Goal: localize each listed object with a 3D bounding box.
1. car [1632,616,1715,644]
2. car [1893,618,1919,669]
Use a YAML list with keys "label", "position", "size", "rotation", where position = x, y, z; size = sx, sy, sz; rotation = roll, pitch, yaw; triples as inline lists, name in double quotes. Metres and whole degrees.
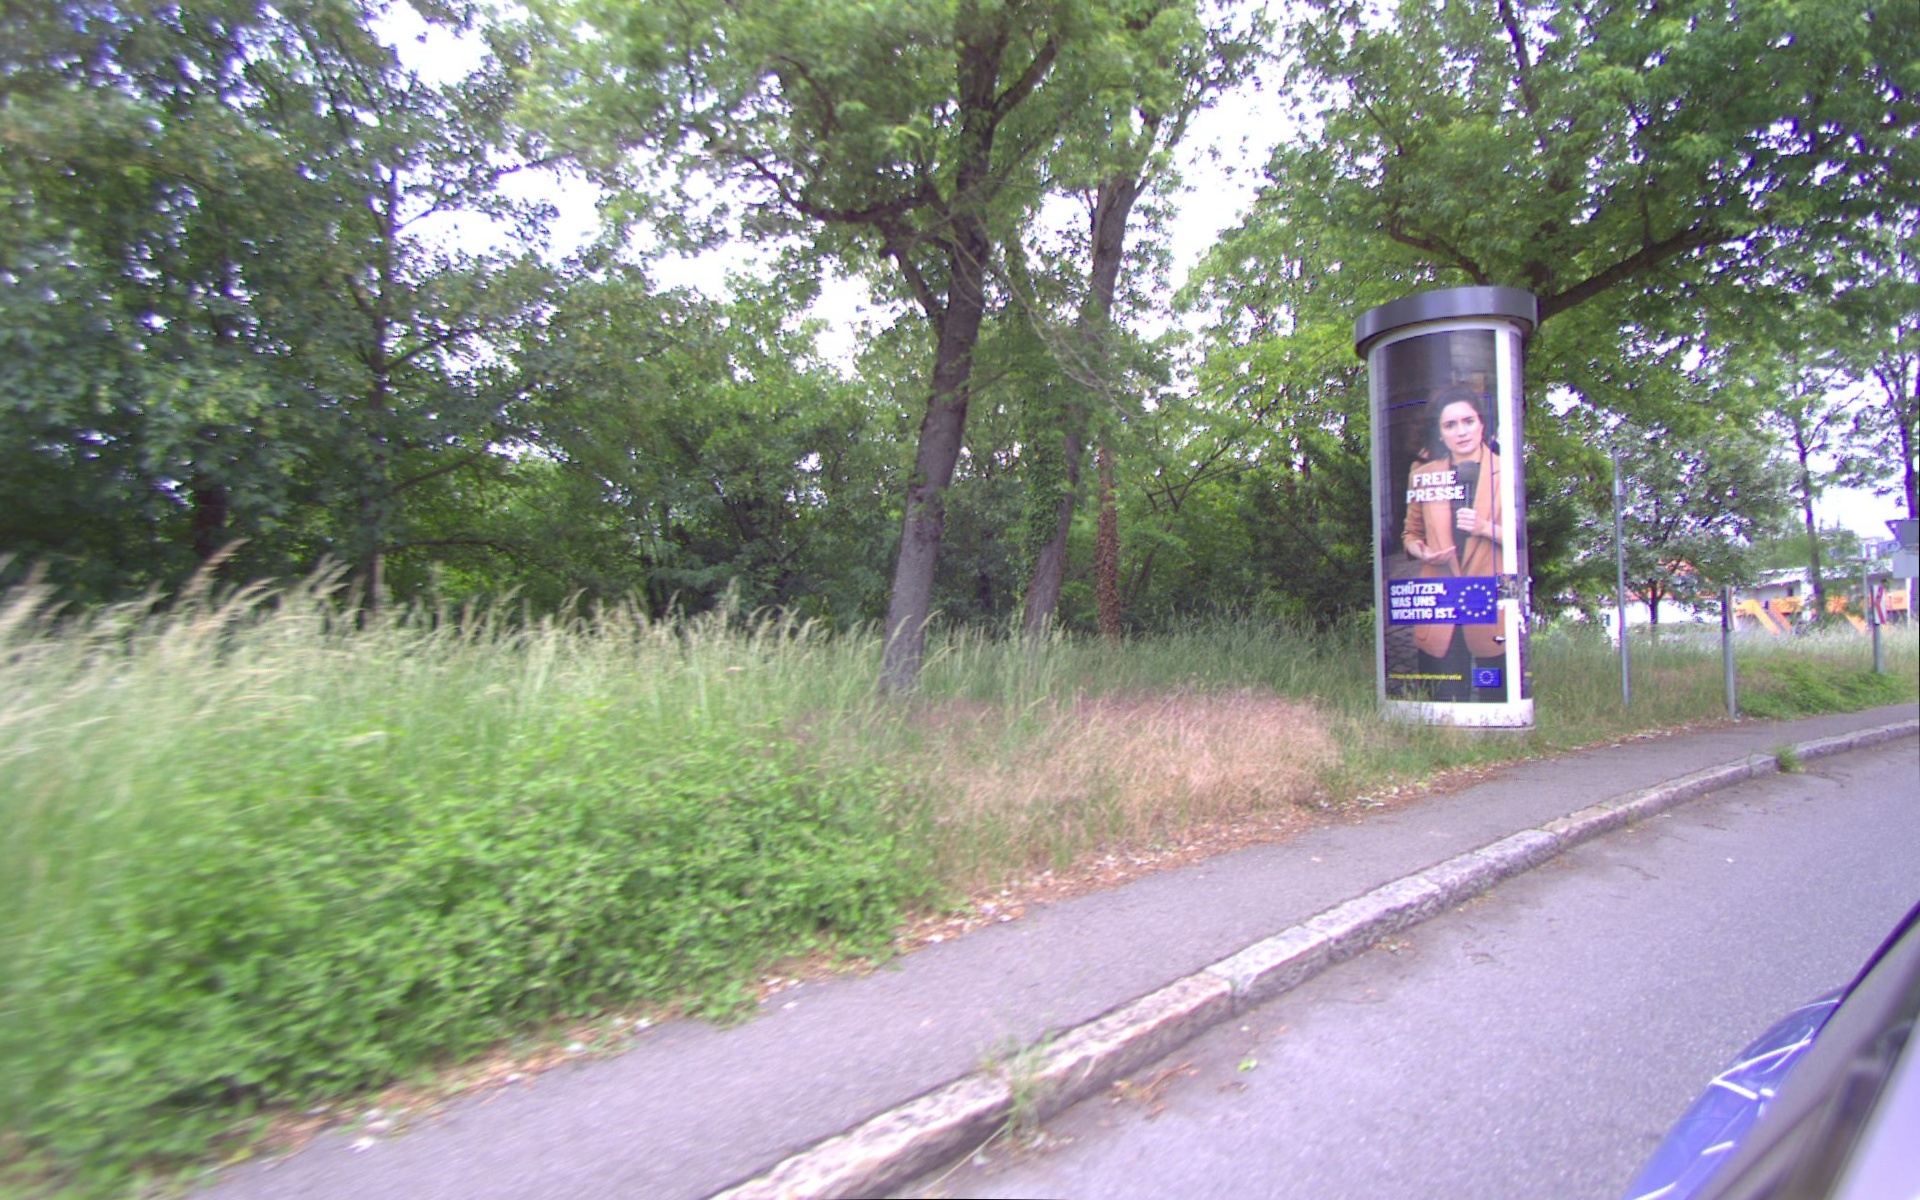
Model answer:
- label: "car"
  position: [97.567, 4.105, 138.515]
  size: [8.160, 3.426, 3.984]
  rotation: [-3, -3, 15]
- label: "car"
  position: [27.957, 1.054, 27.440]
  size: [1.798, 1.417, 3.665]
  rotation: [-2, -7, 2]
